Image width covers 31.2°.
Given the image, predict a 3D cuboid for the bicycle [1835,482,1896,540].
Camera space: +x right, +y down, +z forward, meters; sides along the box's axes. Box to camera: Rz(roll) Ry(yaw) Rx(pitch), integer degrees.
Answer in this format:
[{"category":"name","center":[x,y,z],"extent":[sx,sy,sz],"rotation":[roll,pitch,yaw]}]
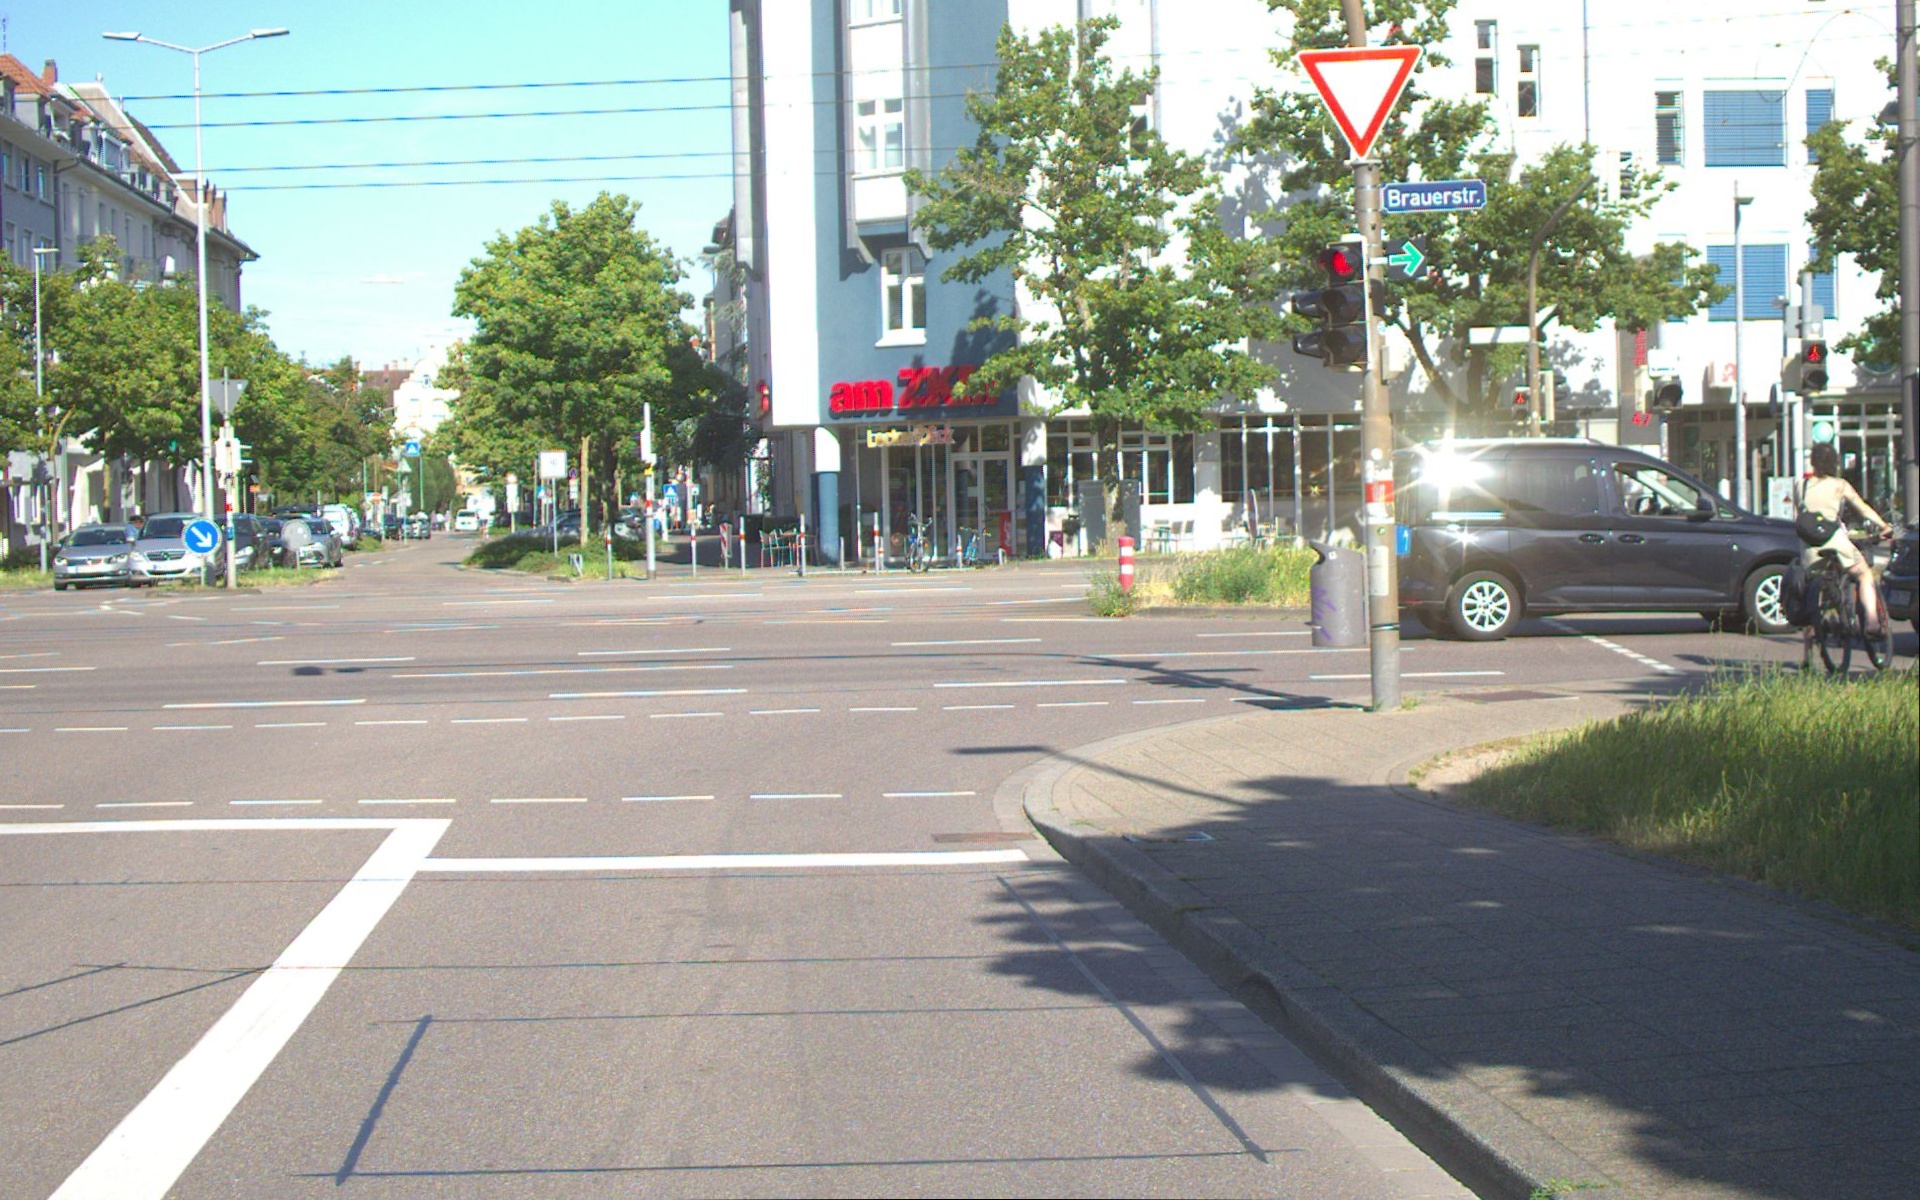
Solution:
[{"category":"bicycle","center":[18.719,-1.845,71.119],"extent":[0.560,1.178,1.870],"rotation":[-2,2,-6]}]

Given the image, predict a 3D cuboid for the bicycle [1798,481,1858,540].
[{"category":"bicycle","center":[17.846,-1.846,70.745],"extent":[0.560,1.178,1.870],"rotation":[-2,2,-6]}]

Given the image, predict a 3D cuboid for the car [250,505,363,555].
[{"category":"car","center":[-27.375,-2.923,144.072],"extent":[4.504,2.007,2.000],"rotation":[-1,0,-7]}]

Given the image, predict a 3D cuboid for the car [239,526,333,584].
[{"category":"car","center":[-17.249,-1.166,88.092],"extent":[1.688,1.427,4.400],"rotation":[1,1,-2]}]

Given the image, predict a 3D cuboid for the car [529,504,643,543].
[{"category":"car","center":[-12.421,-2.537,114.202],"extent":[3.566,1.219,1.731],"rotation":[-1,0,-13]}]

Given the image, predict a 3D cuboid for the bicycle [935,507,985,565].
[{"category":"bicycle","center":[-0.011,-1.158,62.342],"extent":[0.471,1.023,1.517],"rotation":[-2,2,-17]}]

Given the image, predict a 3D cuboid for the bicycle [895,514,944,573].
[{"category":"bicycle","center":[-0.737,-1.020,61.770],"extent":[0.471,1.023,1.517],"rotation":[-2,2,-16]}]

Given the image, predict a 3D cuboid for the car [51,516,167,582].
[{"category":"car","center":[-19.374,-1.175,78.392],"extent":[1.688,1.427,4.400],"rotation":[1,1,-2]}]

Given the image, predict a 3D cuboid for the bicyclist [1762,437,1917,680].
[{"category":"bicyclist","center":[6.763,-0.329,26.418],"extent":[0.792,1.818,1.133],"rotation":[-1,2,33]}]

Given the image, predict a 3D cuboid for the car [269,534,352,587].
[{"category":"car","center":[-18.519,-1.143,98.205],"extent":[1.688,1.427,4.400],"rotation":[1,1,-2]}]

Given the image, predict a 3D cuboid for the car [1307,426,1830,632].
[{"category":"car","center":[5.643,-0.658,32.188],"extent":[4.482,1.794,1.765],"rotation":[1,1,-5]}]

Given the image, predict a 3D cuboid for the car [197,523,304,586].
[{"category":"car","center":[-16.986,-1.106,82.442],"extent":[1.688,1.427,4.400],"rotation":[1,1,-1]}]

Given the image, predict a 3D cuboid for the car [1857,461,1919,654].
[{"category":"car","center":[9.722,-0.331,28.871],"extent":[3.858,1.572,1.694],"rotation":[1,1,-3]}]

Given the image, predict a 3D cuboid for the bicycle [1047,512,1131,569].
[{"category":"bicycle","center":[2.418,-1.115,64.264],"extent":[1.511,1.023,0.473],"rotation":[-1,1,6]}]

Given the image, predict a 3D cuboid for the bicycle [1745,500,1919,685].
[{"category":"bicycle","center":[6.827,-0.077,26.533],"extent":[0.792,1.343,2.075],"rotation":[-1,2,33]}]

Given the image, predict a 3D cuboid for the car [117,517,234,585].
[{"category":"car","center":[-17.127,-1.086,75.199],"extent":[1.688,1.427,4.400],"rotation":[1,1,-2]}]
